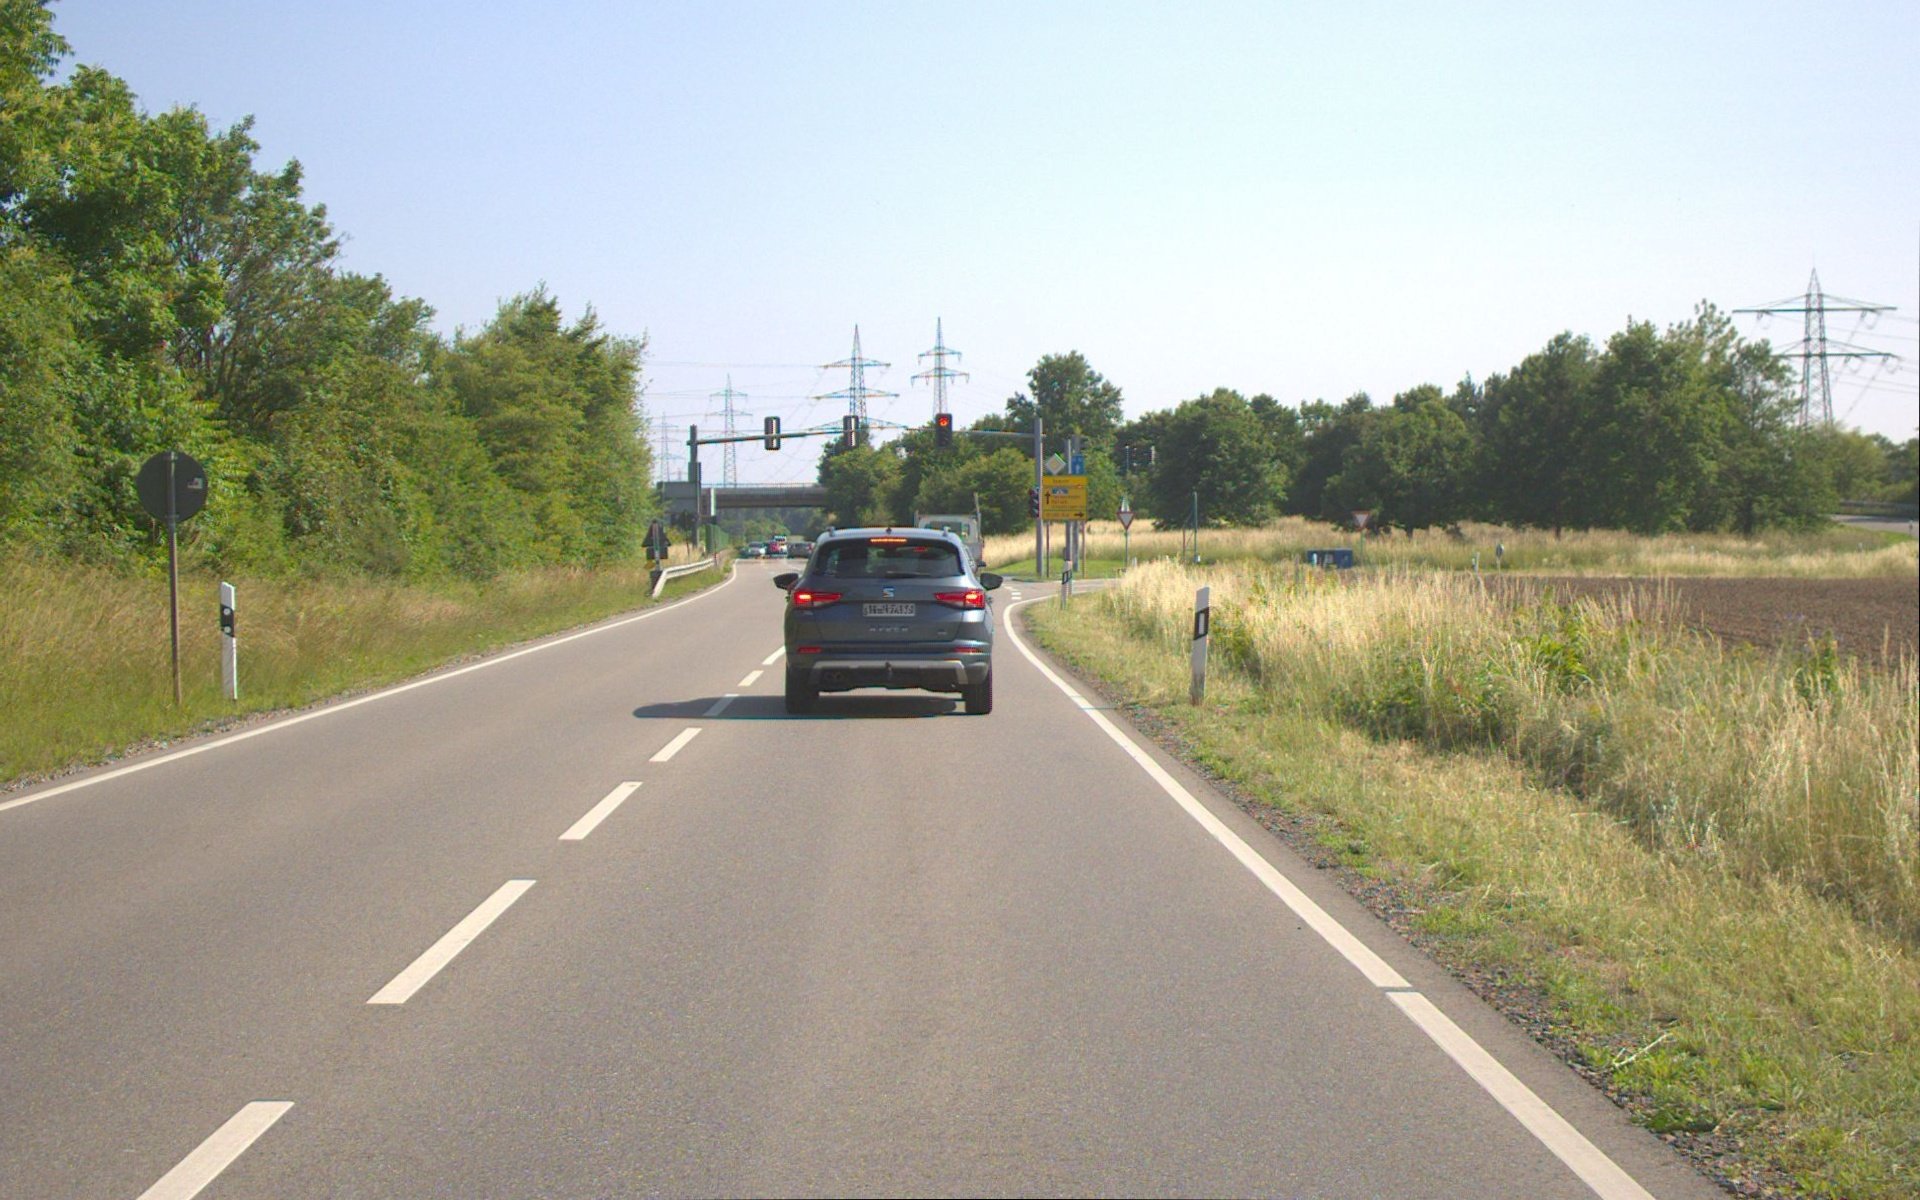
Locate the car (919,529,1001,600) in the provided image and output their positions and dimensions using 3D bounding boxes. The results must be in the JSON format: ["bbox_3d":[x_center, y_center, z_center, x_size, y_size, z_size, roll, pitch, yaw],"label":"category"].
[{"bbox_3d":[-0.028,-0.828,77.902,1.785,1.538,4.000,0,1,-1],"label":"car"}]

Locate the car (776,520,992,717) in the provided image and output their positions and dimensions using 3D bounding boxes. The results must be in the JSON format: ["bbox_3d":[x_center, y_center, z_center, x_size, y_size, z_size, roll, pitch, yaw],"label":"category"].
[{"bbox_3d":[-0.662,0.111,30.568,1.785,1.623,4.000,0,1,-1],"label":"car"}]

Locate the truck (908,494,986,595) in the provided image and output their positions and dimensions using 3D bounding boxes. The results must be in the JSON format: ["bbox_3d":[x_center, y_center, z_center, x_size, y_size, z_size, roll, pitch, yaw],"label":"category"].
[{"bbox_3d":[-0.382,-1.704,107.387,2.337,3.055,5.810,0,1,0],"label":"truck"}]

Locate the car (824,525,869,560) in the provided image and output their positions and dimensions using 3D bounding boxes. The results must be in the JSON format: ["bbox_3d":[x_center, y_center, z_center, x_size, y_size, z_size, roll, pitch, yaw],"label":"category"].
[{"bbox_3d":[-5.105,-2.572,153.894,1.816,1.535,4.001,-1,1,-4],"label":"car"}]

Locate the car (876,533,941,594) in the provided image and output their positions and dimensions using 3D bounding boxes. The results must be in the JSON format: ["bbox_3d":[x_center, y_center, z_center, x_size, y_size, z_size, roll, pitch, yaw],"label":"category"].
[{"bbox_3d":[-1.474,-1.069,97.992,1.785,1.670,4.000,0,1,-1],"label":"car"}]
